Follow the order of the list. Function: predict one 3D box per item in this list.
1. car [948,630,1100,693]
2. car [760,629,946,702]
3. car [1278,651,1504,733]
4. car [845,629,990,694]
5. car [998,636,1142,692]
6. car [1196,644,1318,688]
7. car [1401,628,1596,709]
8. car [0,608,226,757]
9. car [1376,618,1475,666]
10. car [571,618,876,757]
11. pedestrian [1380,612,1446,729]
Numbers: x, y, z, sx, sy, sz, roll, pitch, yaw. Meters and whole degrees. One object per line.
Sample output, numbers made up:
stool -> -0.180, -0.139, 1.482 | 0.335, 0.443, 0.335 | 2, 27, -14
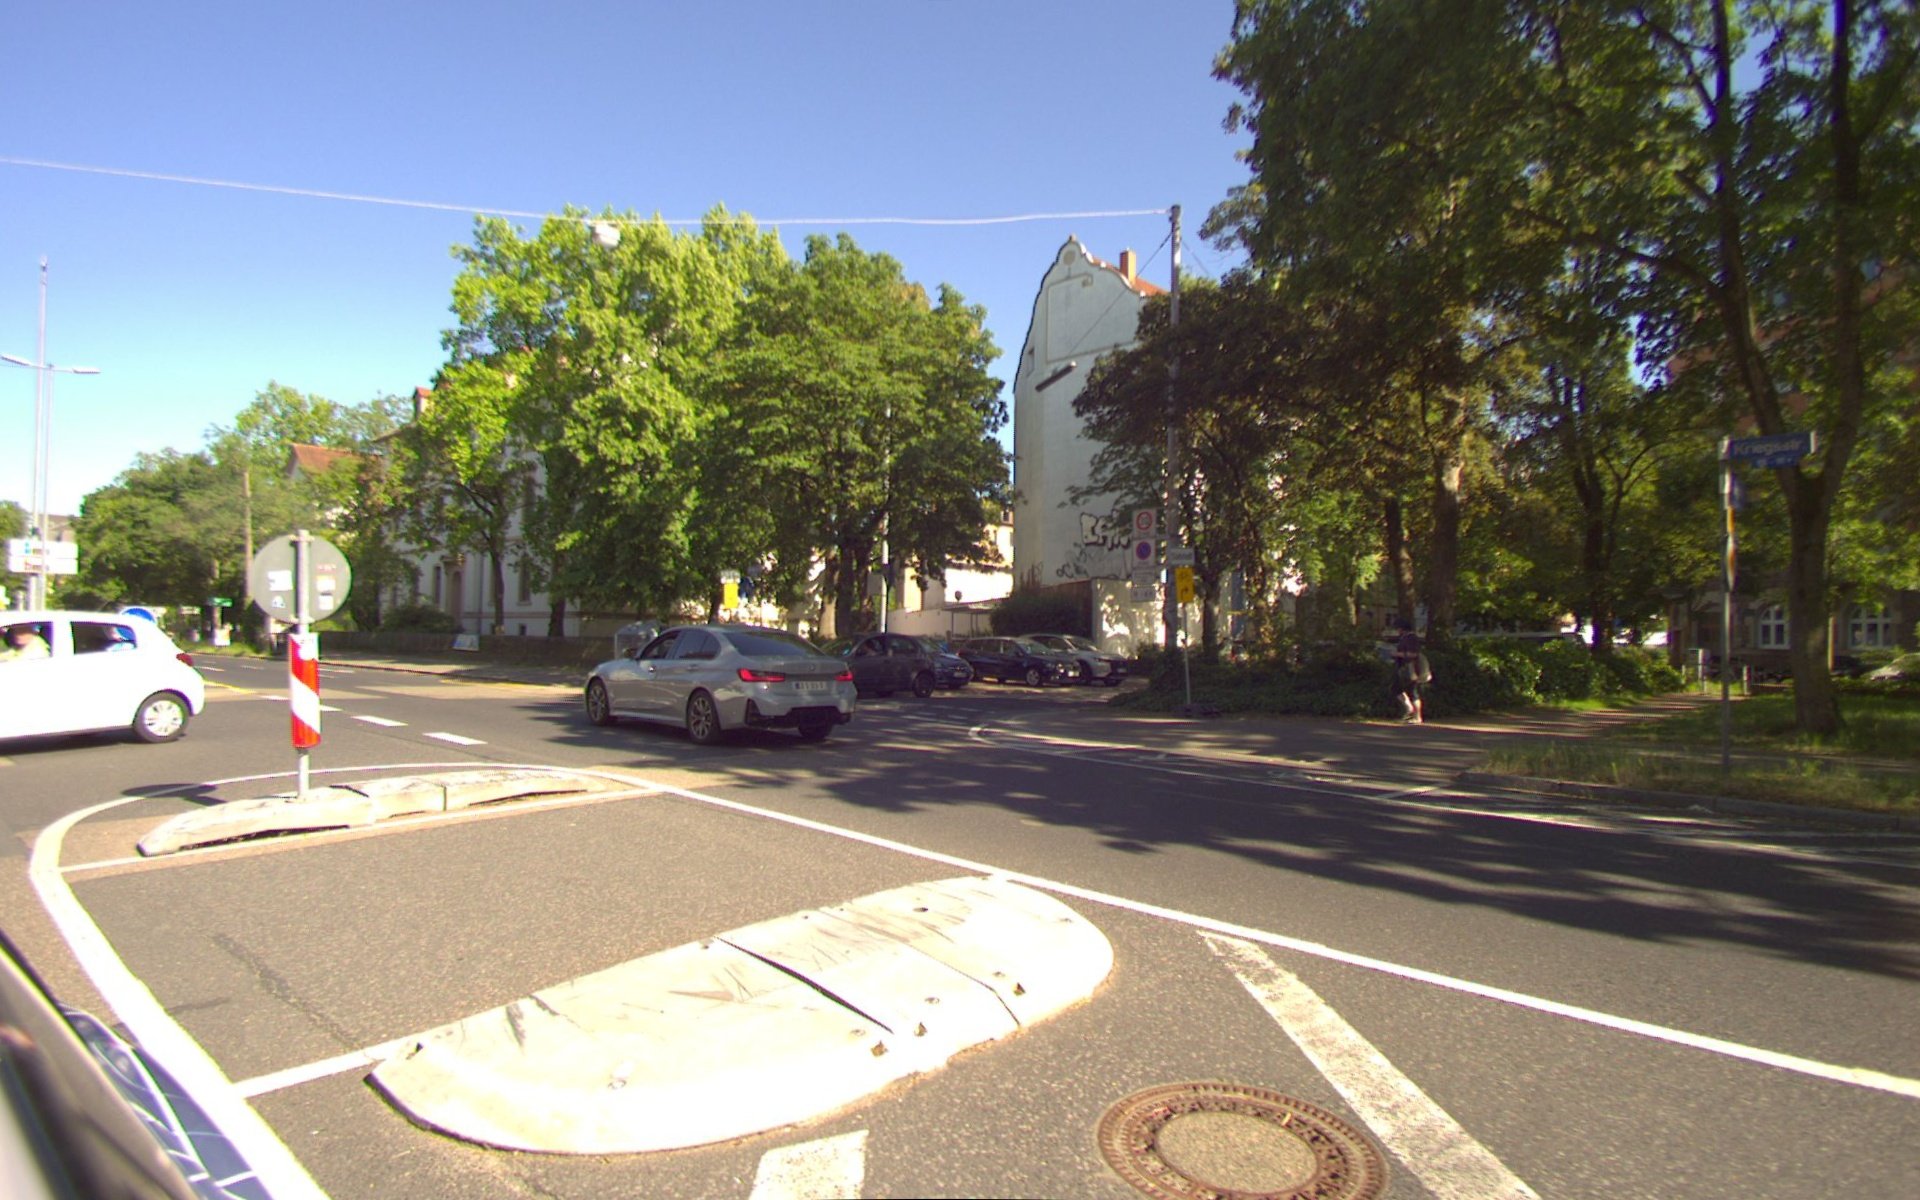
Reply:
car -> 1.927, 1.899, 31.843 | 1.866, 1.701, 4.703 | 5, -3, -44
car -> -2.358, 1.483, 22.736 | 3.720, 1.502, 1.847 | 4, -4, -39
car -> 10.196, 2.135, 24.299 | 1.863, 1.701, 4.710 | 4, -4, -36
car -> -1.319, 1.729, 29.037 | 1.863, 1.701, 4.710 | 4, -4, -36
car -> 3.575, 2.090, 33.683 | 1.866, 1.701, 4.704 | 5, -4, -42
car -> 12.396, 2.763, 42.524 | 1.864, 1.701, 4.708 | 4, -4, -39
car -> 16.337, 2.030, 30.901 | 1.867, 2.263, 4.920 | 5, -5, -45
car -> -10.134, 0.821, 10.411 | 1.644, 1.469, 3.864 | 0, -2, 25
car -> 27.098, 2.423, 58.966 | 4.919, 2.643, 1.867 | -2, -5, 44
car -> -3.275, 1.033, 13.323 | 1.783, 1.505, 4.717 | 3, -4, -43
pedestrian -> 7.130, 1.085, 15.929 | 0.818, 1.768, 0.862 | -1, -3, 34
